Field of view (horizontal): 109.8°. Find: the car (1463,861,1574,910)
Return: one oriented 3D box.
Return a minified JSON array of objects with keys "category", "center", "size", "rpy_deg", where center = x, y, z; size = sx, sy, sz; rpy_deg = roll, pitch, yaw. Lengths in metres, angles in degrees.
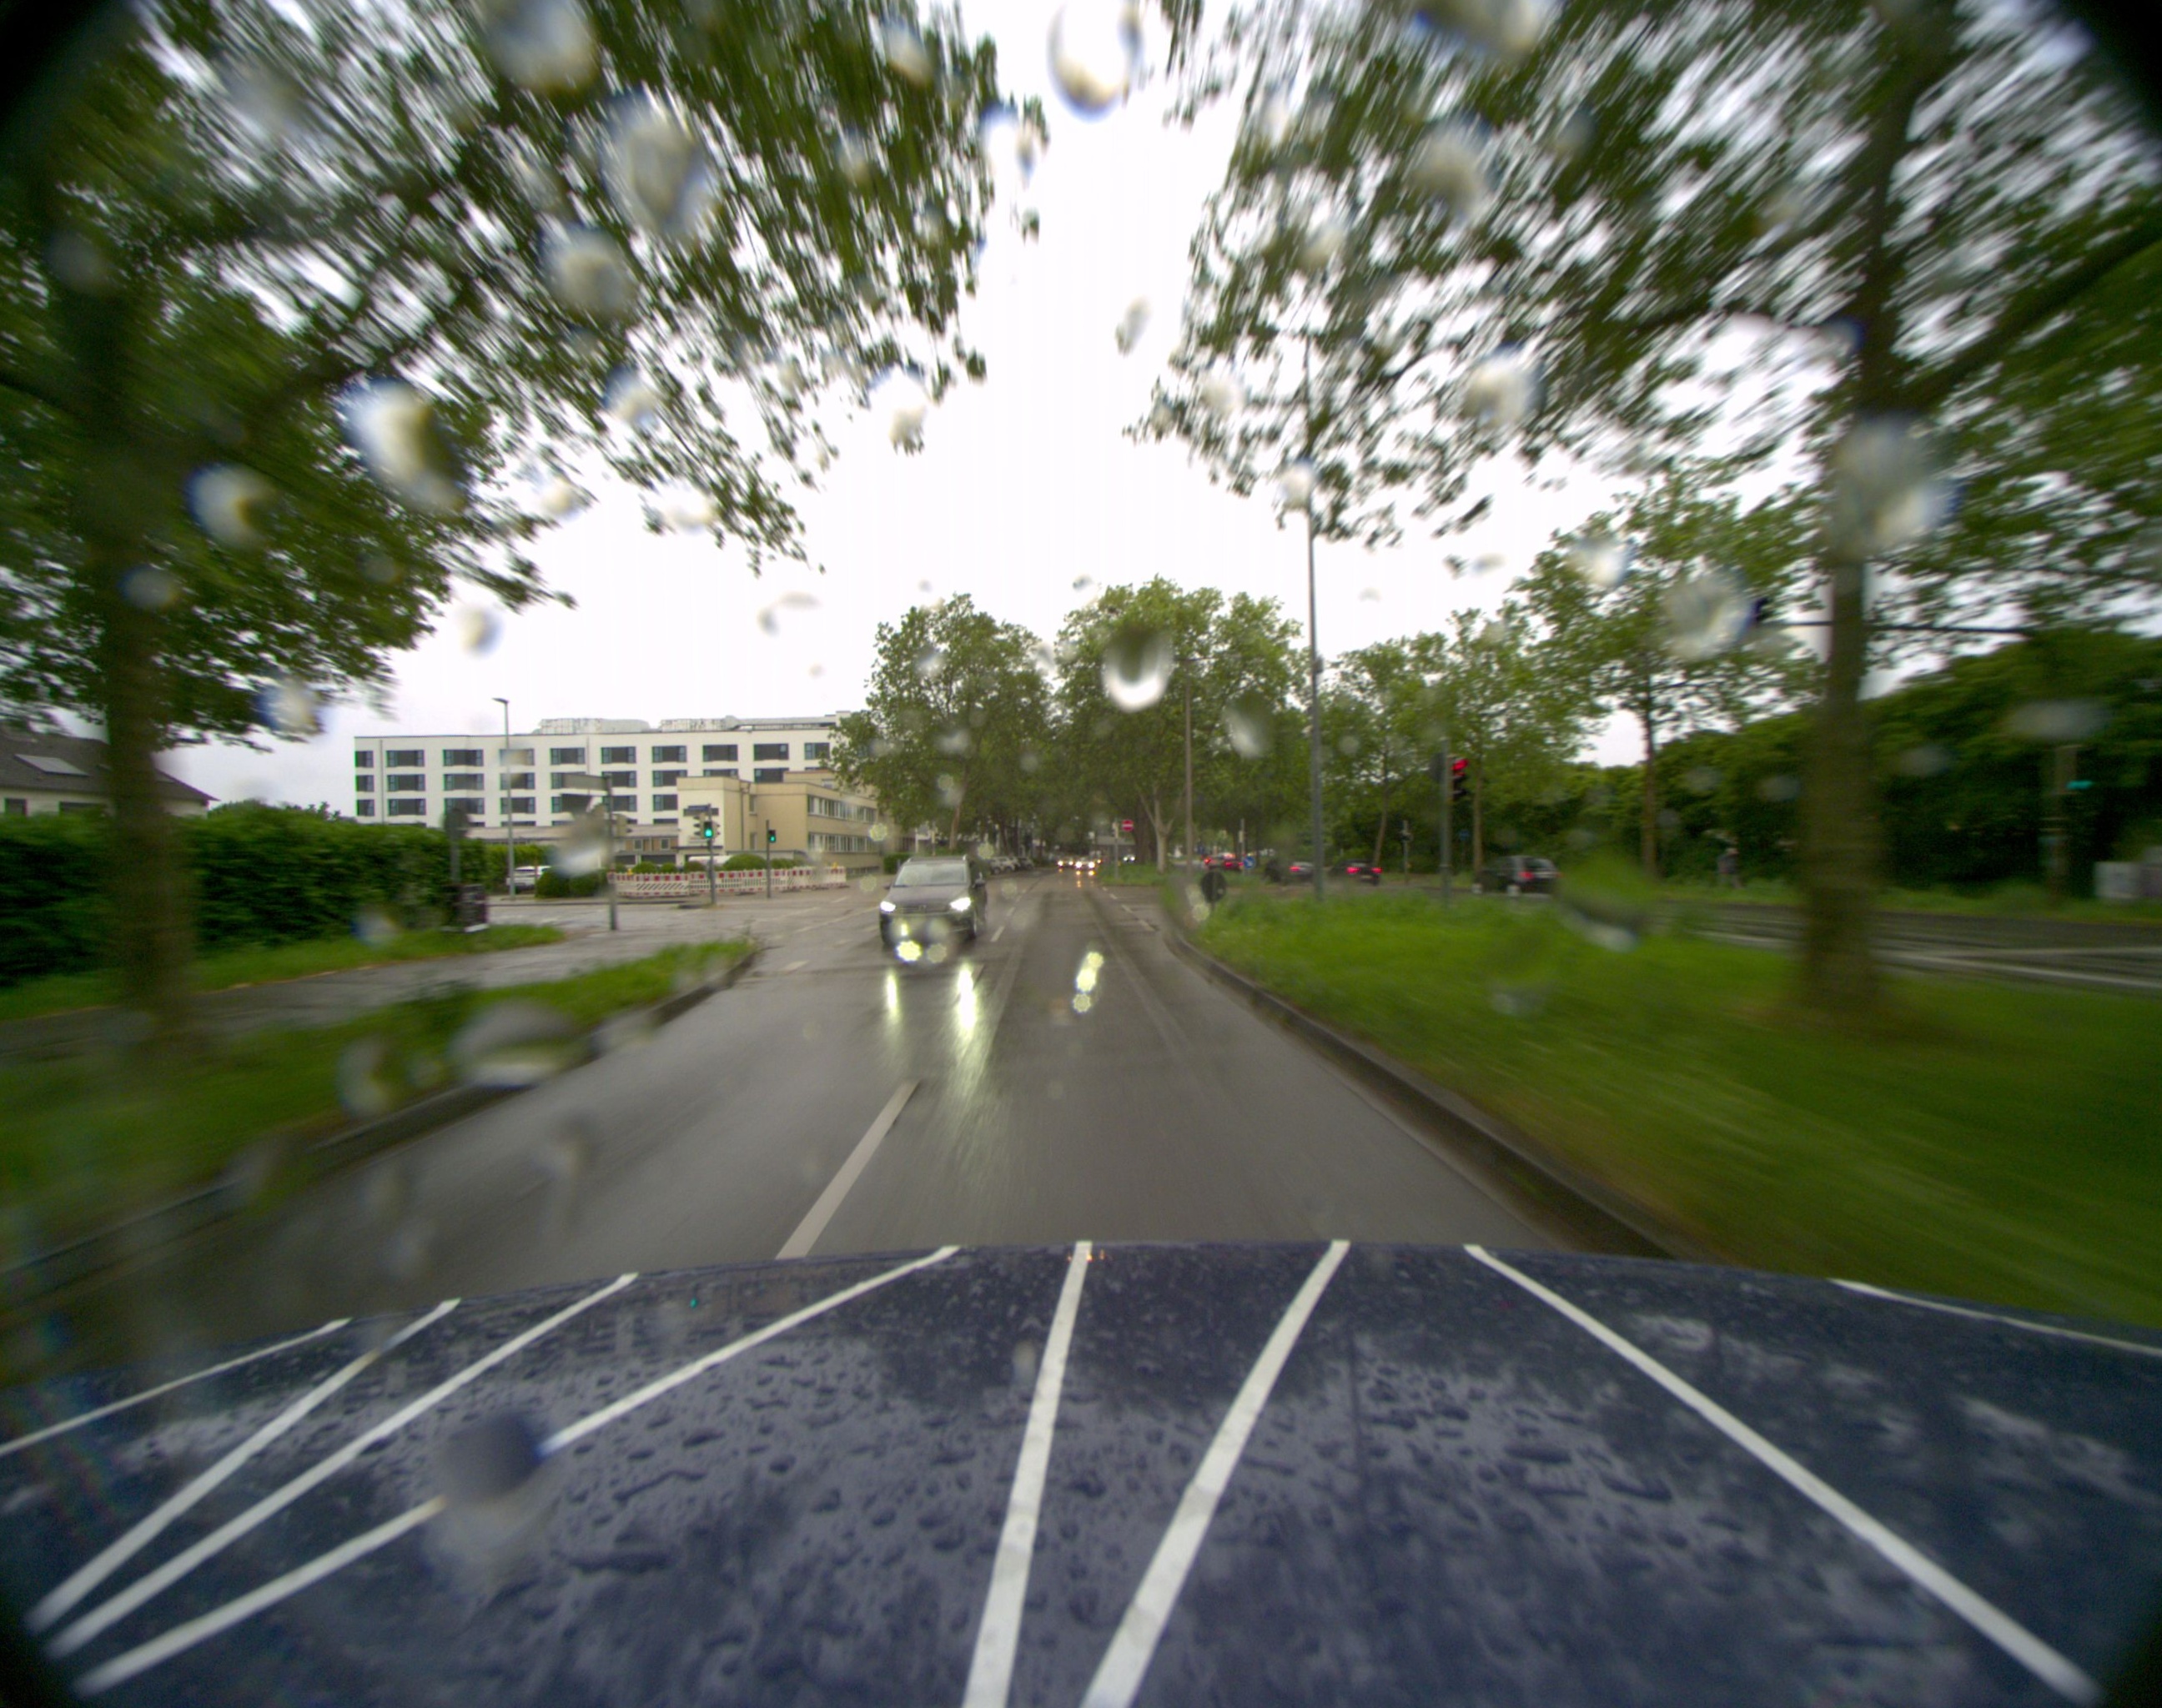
[{"category":"car","center":[15.490,1.056,27.167],"size":[1.783,1.546,4.000],"rpy_deg":[-1,0,2]}]

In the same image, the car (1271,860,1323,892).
[{"category":"car","center":[11.377,1.114,40.295],"size":[1.783,1.546,4.000],"rpy_deg":[-1,0,2]}]

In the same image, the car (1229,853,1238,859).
[{"category":"car","center":[40.471,0.454,201.553],"size":[1.781,1.546,4.006],"rpy_deg":[-1,0,22]}]

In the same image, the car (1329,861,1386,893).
[{"category":"car","center":[14.923,1.225,41.235],"size":[1.783,1.546,4.000],"rpy_deg":[-1,0,2]}]

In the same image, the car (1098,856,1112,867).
[{"category":"car","center":[3.877,1.205,122.051],"size":[1.782,1.546,4.003],"rpy_deg":[-1,0,10]}]

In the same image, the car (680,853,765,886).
[{"category":"car","center":[-20.670,0.870,43.889],"size":[3.997,1.760,1.785],"rpy_deg":[-1,1,-1]}]

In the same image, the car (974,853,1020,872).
[{"category":"car","center":[-7.581,0.773,68.721],"size":[3.997,1.546,1.785],"rpy_deg":[-1,1,-1]}]

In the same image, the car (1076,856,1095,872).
[{"category":"car","center":[0.447,0.989,77.150],"size":[1.784,1.546,4.000],"rpy_deg":[-2,0,0]}]

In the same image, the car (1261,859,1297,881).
[{"category":"car","center":[14.673,1.164,56.586],"size":[1.783,1.546,4.000],"rpy_deg":[-1,0,2]}]

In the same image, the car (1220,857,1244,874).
[{"category":"car","center":[15.060,1.161,75.942],"size":[1.783,1.546,4.000],"rpy_deg":[-1,0,2]}]

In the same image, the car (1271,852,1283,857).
[{"category":"car","center":[59.284,0.113,229.792],"size":[1.780,1.546,4.008],"rpy_deg":[-1,1,40]}]

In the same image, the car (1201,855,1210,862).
[{"category":"car","center":[26.526,0.929,161.801],"size":[1.782,1.546,4.004],"rpy_deg":[-1,0,13]}]

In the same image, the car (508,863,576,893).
[{"category":"car","center":[-30.469,1.306,43.115],"size":[1.786,1.546,3.995],"rpy_deg":[-1,0,-14]}]

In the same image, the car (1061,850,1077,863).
[{"category":"car","center":[-1.445,0.319,92.298],"size":[1.784,1.546,4.000],"rpy_deg":[-1,0,0]}]

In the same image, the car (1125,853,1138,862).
[{"category":"car","center":[10.021,0.666,149.964],"size":[1.782,1.546,4.004],"rpy_deg":[-1,0,15]}]

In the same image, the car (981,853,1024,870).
[{"category":"car","center":[-7.662,0.711,74.261],"size":[3.997,1.546,1.785],"rpy_deg":[-1,1,-1]}]

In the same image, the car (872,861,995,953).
[{"category":"car","center":[-2.906,0.986,15.787],"size":[1.784,1.546,3.999],"rpy_deg":[-2,0,-1]}]

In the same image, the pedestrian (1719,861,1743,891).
[{"category":"pedestrian","center":[22.565,0.754,26.374],"size":[0.475,1.034,0.442],"rpy_deg":[-1,1,6]}]

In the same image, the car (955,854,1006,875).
[{"category":"car","center":[-8.333,0.864,63.219],"size":[3.997,1.546,1.785],"rpy_deg":[-1,1,-1]}]

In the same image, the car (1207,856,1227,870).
[{"category":"car","center":[16.052,1.074,89.980],"size":[1.783,1.546,4.000],"rpy_deg":[-1,0,2]}]

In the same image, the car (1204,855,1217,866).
[{"category":"car","center":[20.152,0.962,118.371],"size":[1.783,1.546,4.002],"rpy_deg":[-1,0,9]}]

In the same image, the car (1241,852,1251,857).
[{"category":"car","center":[46.043,0.118,212.369],"size":[1.781,1.546,4.007],"rpy_deg":[-1,0,26]}]

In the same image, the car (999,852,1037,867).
[{"category":"car","center":[-6.842,0.574,83.387],"size":[3.997,1.546,1.785],"rpy_deg":[-1,1,-1]}]
